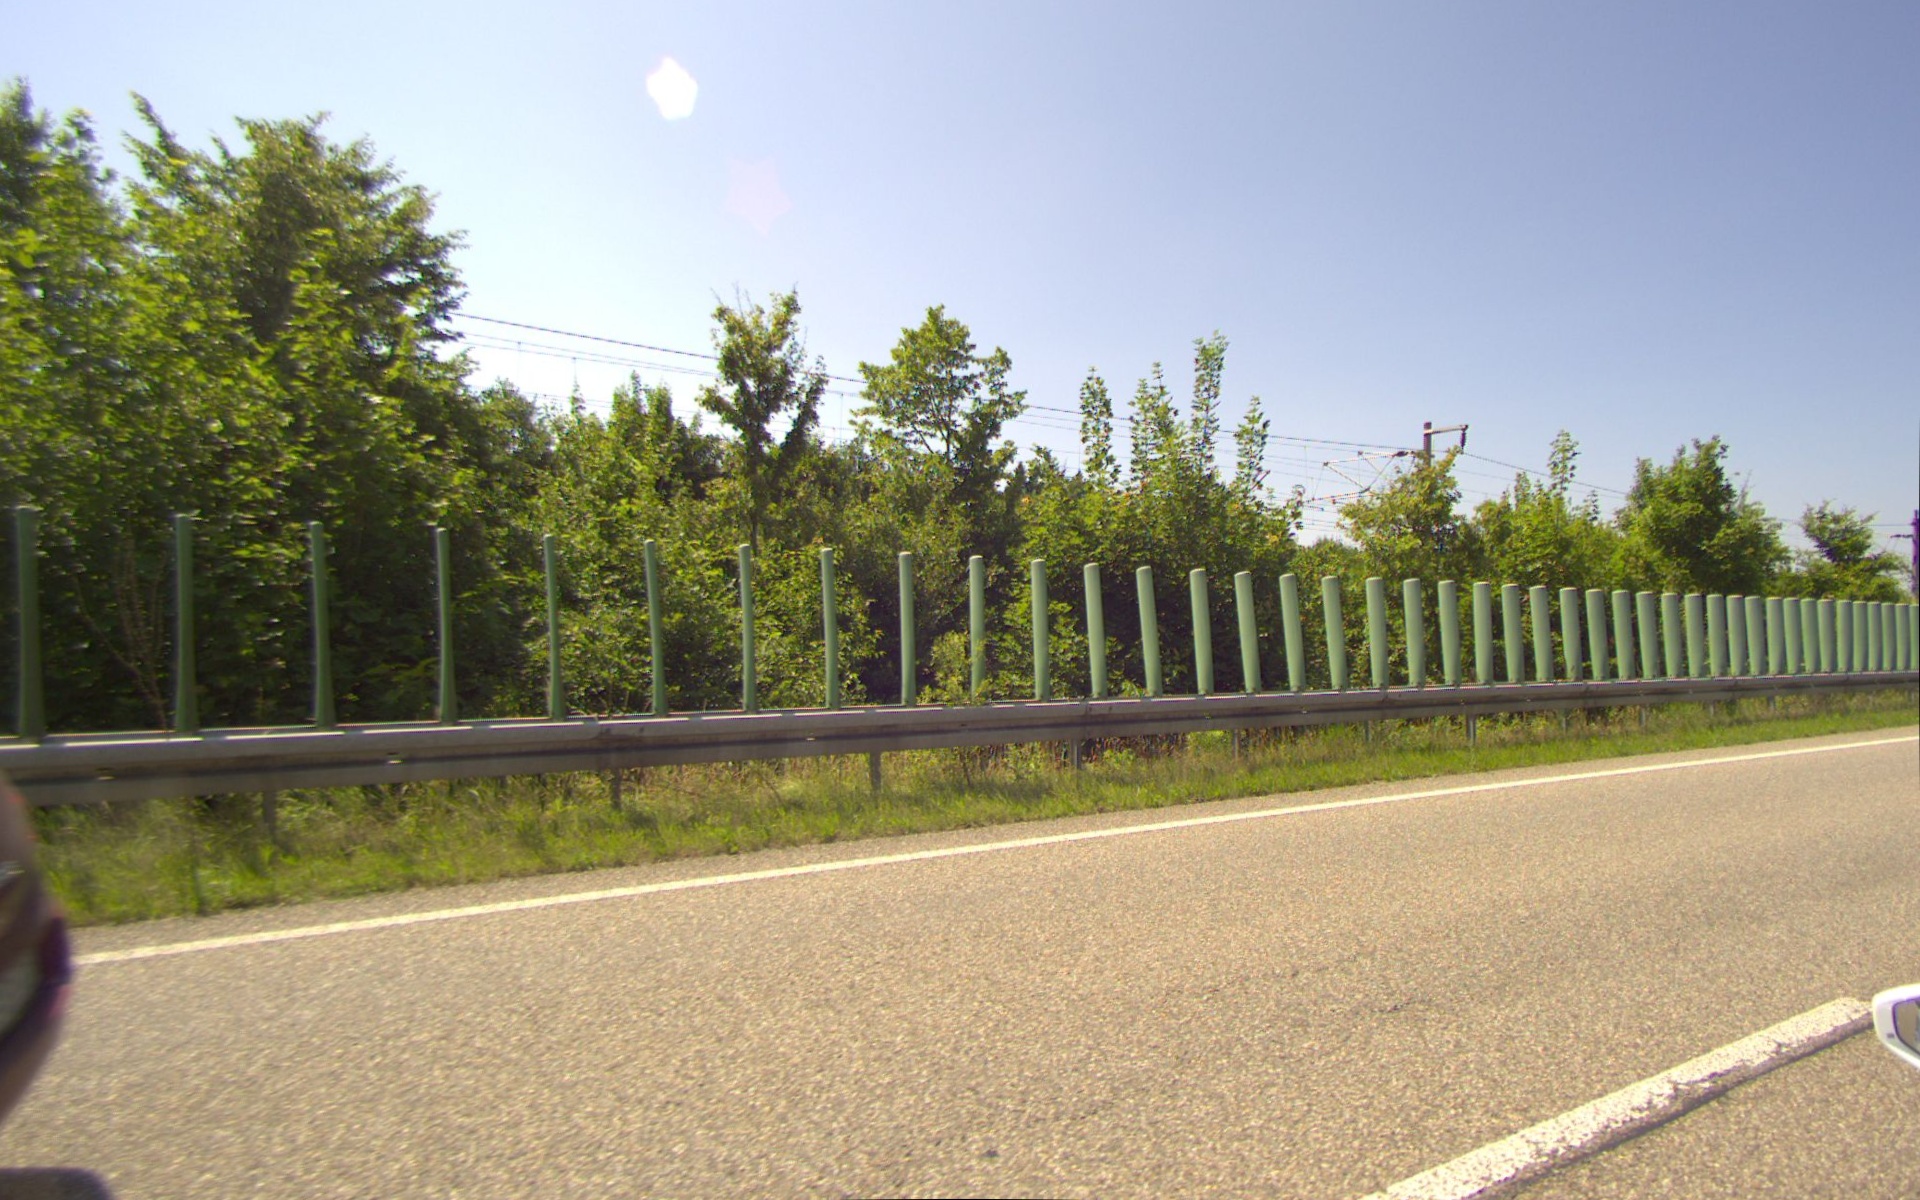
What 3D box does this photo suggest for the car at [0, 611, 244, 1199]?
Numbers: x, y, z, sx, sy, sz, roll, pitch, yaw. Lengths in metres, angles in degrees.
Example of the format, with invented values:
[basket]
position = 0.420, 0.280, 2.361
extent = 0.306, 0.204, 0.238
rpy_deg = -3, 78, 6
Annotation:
[car]
position = -3.454, 0.697, 1.348
extent = 3.850, 1.390, 1.778
rpy_deg = 1, -1, -30
